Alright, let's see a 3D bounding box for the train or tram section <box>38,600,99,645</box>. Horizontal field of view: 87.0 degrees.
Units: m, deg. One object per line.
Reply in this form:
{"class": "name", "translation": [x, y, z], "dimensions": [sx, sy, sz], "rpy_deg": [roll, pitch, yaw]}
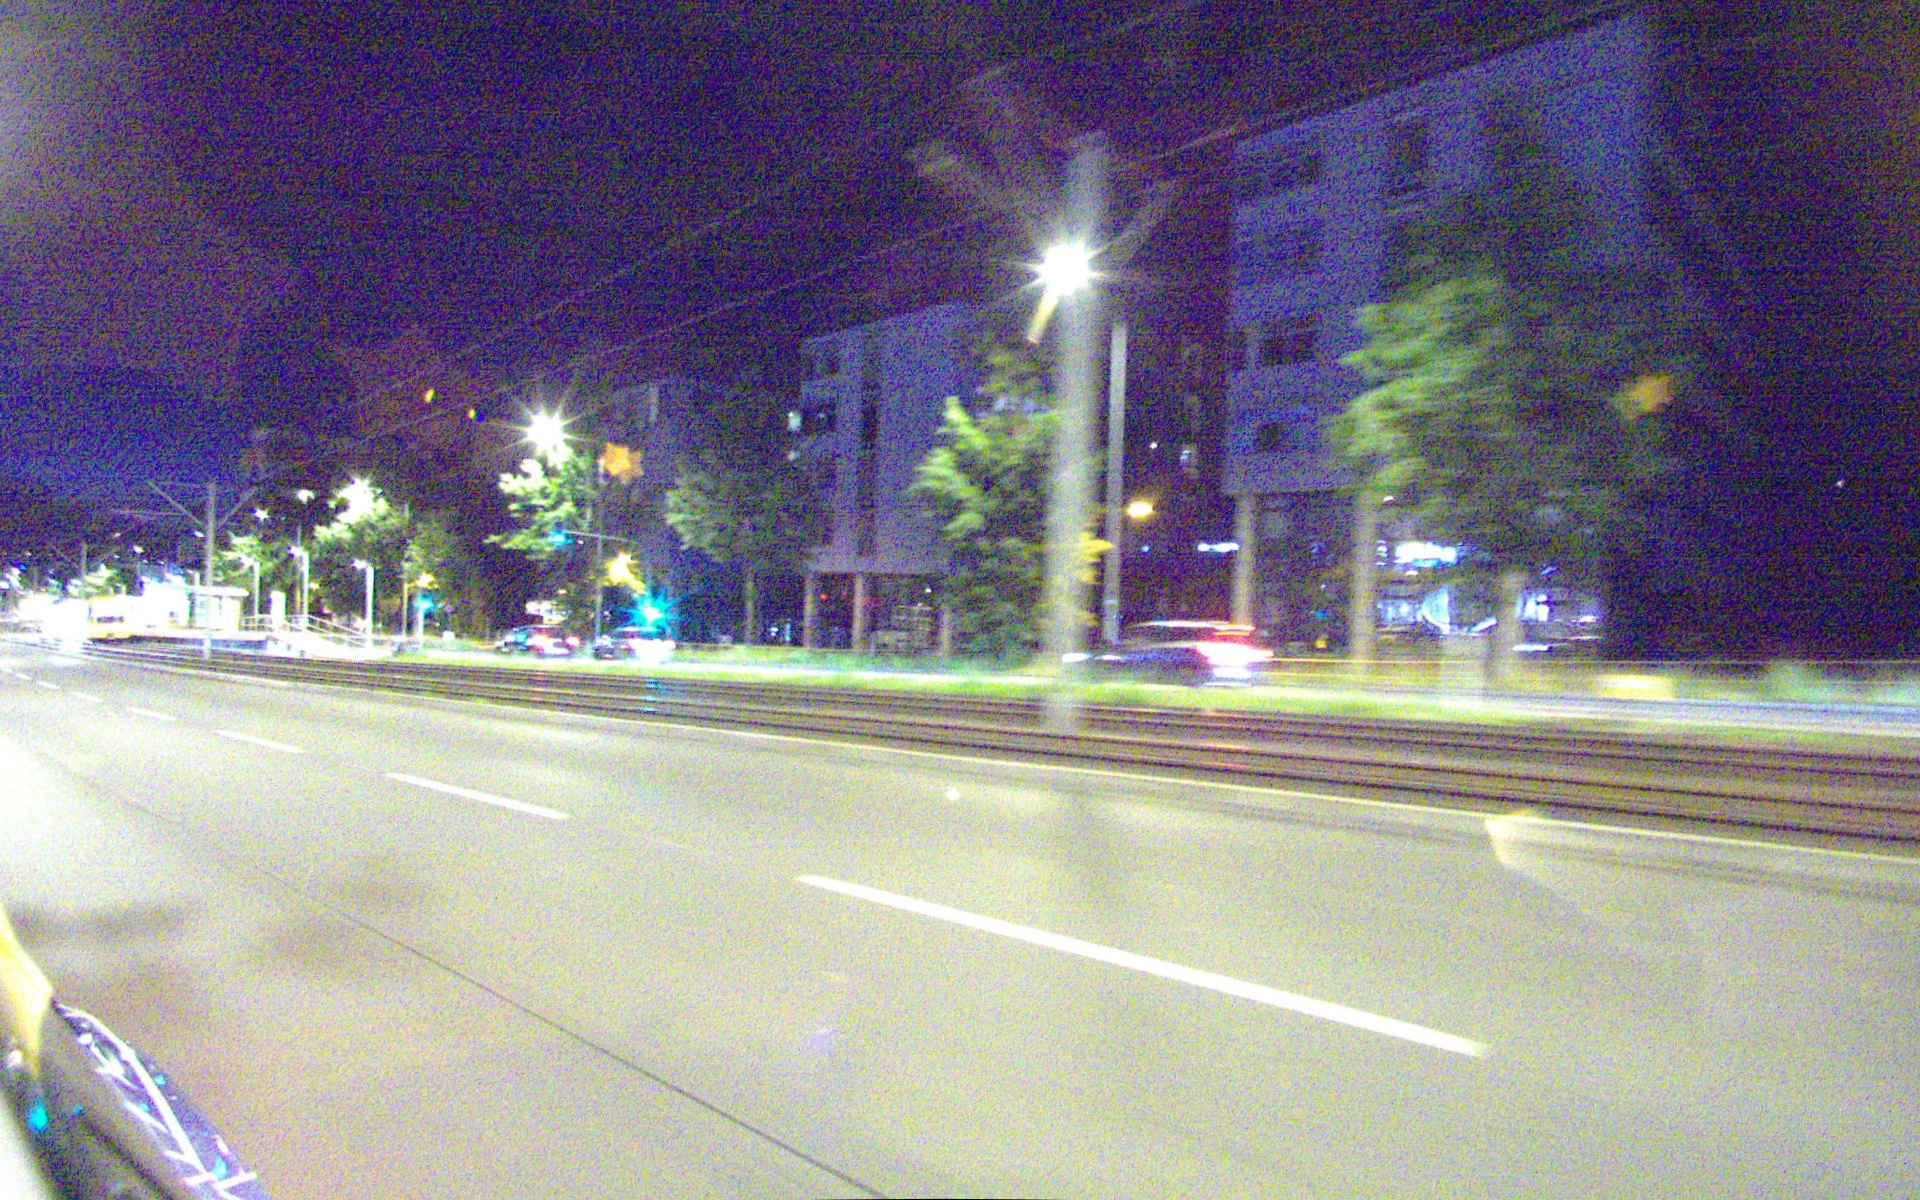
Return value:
{"class": "train or tram section", "translation": [-83.975, 2.082, 95.137], "dimensions": [19.367, 3.875, 2.708], "rpy_deg": [-1, -1, 44]}

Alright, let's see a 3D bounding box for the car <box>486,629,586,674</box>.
{"class": "car", "translation": [-16.283, 1.912, 38.768], "dimensions": [4.170, 1.508, 1.767], "rpy_deg": [0, 0, 39]}

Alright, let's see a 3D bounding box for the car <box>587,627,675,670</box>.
{"class": "car", "translation": [-12.892, 1.856, 39.590], "dimensions": [3.911, 1.528, 1.642], "rpy_deg": [-1, -1, 44]}

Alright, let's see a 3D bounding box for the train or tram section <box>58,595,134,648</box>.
{"class": "train or tram section", "translation": [-70.212, 1.756, 81.994], "dimensions": [18.672, 3.856, 2.728], "rpy_deg": [-1, -1, 43]}

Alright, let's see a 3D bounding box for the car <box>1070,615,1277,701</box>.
{"class": "car", "translation": [4.673, 1.198, 22.542], "dimensions": [4.226, 1.726, 1.760], "rpy_deg": [-1, -1, 42]}
